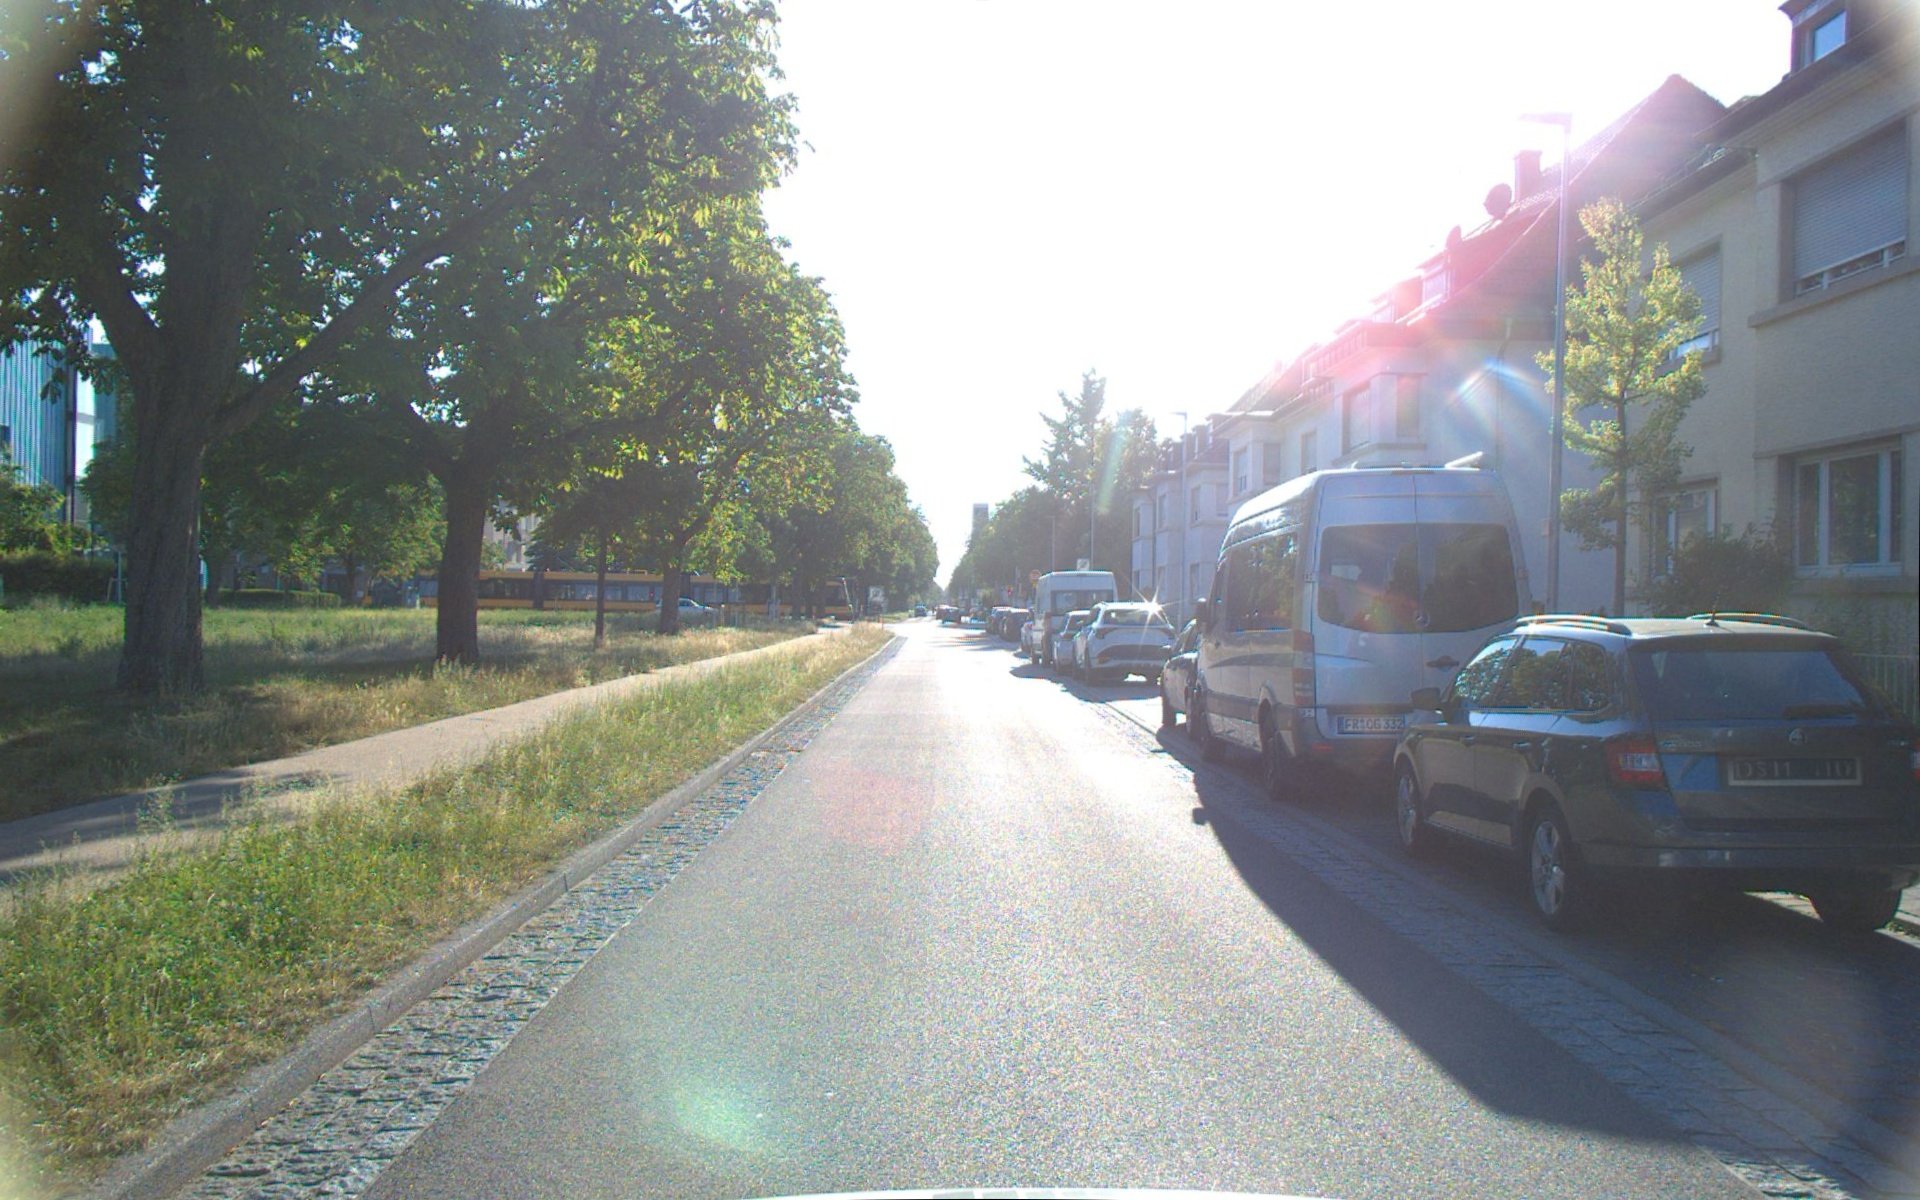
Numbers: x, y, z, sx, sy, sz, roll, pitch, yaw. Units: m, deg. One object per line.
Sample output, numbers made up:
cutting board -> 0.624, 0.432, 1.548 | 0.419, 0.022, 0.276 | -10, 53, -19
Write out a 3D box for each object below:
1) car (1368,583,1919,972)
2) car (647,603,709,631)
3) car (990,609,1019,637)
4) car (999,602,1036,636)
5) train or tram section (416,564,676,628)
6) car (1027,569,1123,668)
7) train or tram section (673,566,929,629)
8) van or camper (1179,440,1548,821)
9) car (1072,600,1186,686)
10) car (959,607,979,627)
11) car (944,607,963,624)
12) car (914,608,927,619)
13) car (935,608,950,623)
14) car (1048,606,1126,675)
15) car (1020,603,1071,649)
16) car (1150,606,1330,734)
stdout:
car -> 3.593, 0.762, 9.097 | 1.630, 1.621, 4.085 | -1, 0, 0
car -> -20.116, 1.204, 118.297 | 4.266, 1.795, 1.996 | 2, -1, -9
car -> 2.513, 1.289, 94.274 | 1.616, 1.557, 3.851 | 0, 0, 0
car -> 2.678, 0.883, 77.440 | 1.616, 1.557, 3.851 | 0, 0, 0
train or tram section -> -31.220, -0.254, 125.674 | 18.716, 4.025, 3.637 | 2, -1, -8
car -> 3.108, 0.471, 45.678 | 2.084, 2.577, 5.186 | 0, 0, -3
train or tram section -> -12.310, -0.173, 128.421 | 19.412, 4.025, 3.637 | 2, -1, -8
van or camper -> 3.474, 0.279, 15.566 | 1.904, 2.826, 5.938 | 2, -1, 0
car -> 3.430, 0.834, 34.237 | 1.800, 1.664, 4.129 | 0, 0, -2
car -> 0.732, 1.337, 133.210 | 1.616, 1.557, 3.851 | 0, 0, 0
car -> -0.590, 1.424, 151.643 | 1.616, 1.557, 3.851 | 0, 0, 0
car -> -5.564, 1.896, 232.073 | 1.773, 1.557, 3.851 | 0, 0, 0
car -> -1.980, 1.738, 185.392 | 1.616, 1.557, 3.851 | 0, 0, 0
car -> 3.003, 0.931, 39.631 | 1.616, 1.557, 3.851 | 0, 0, 0
car -> 2.983, 0.902, 58.401 | 1.616, 1.557, 3.851 | 0, 0, 0
car -> 3.535, 0.850, 21.527 | 1.588, 1.435, 3.968 | -3, -1, 0
